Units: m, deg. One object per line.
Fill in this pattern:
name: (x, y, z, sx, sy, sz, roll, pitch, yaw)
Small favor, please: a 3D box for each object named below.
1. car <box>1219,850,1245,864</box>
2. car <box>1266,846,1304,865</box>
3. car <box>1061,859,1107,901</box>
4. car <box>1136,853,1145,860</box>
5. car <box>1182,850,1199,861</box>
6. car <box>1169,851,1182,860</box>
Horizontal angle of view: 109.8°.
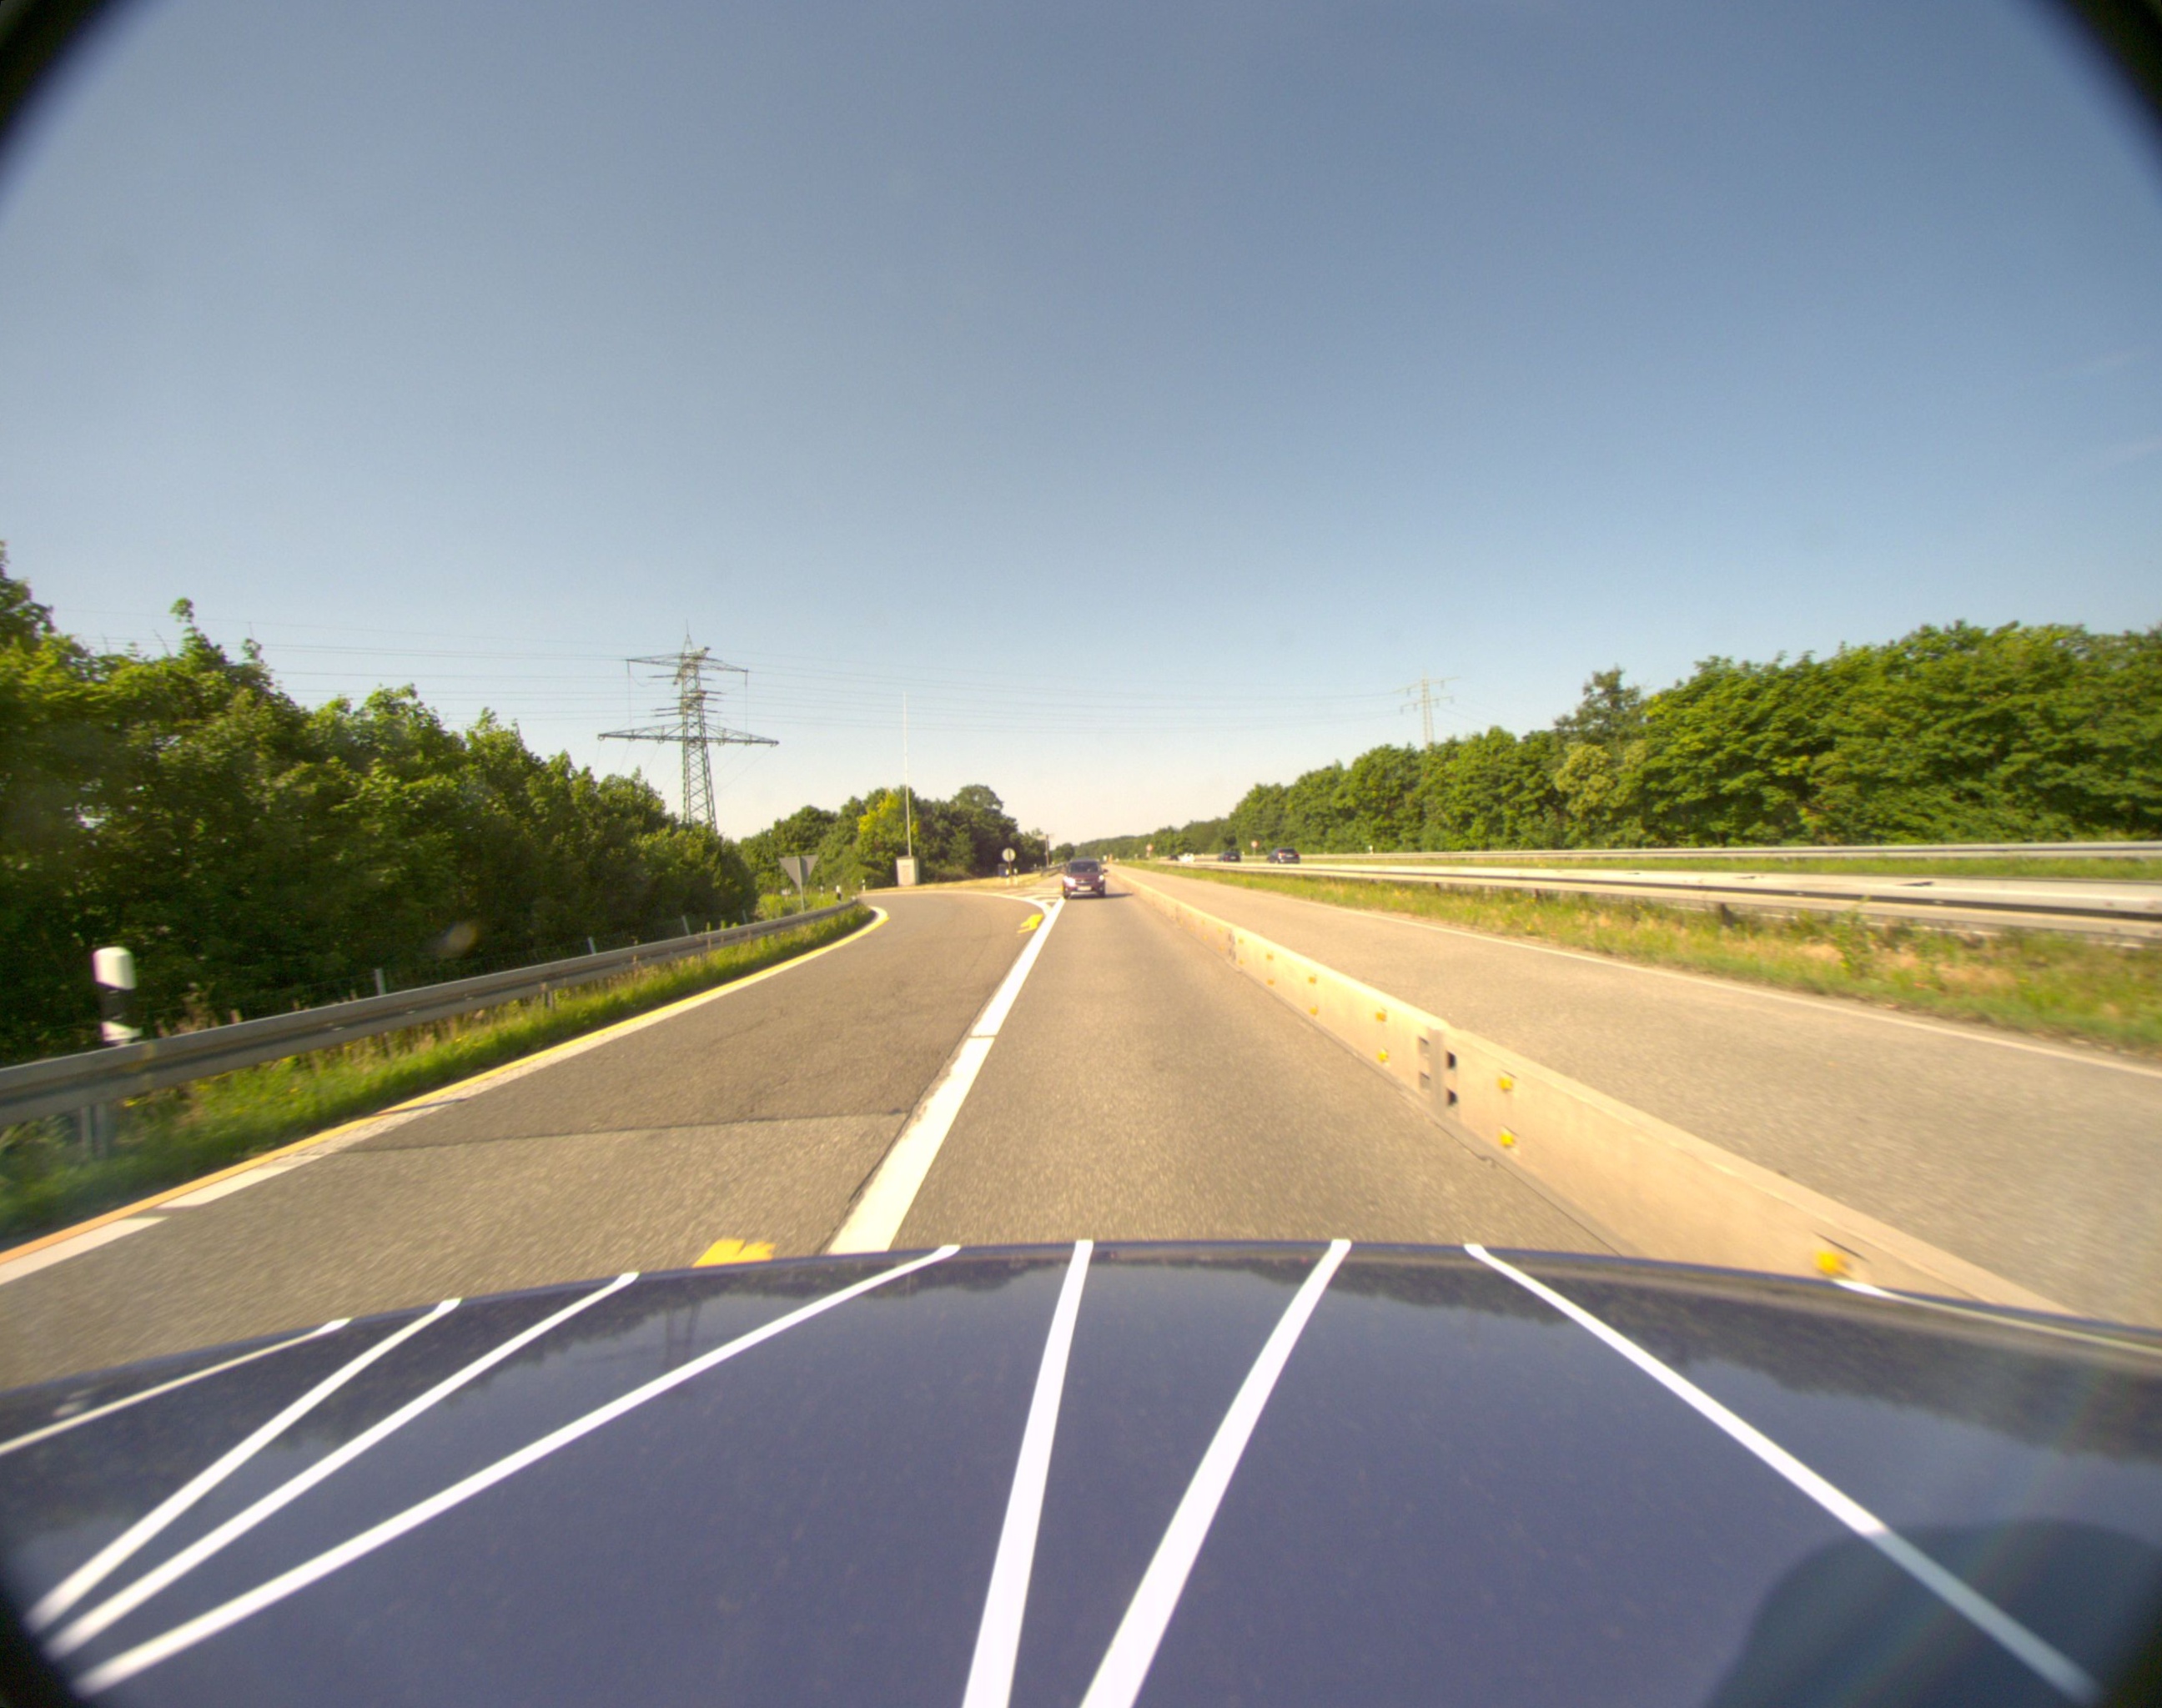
car: (15.901, 0.304, 80.353, 1.820, 1.479, 5.023, -1, 0, 2)
car: (16.335, 0.132, 60.939, 1.801, 1.426, 4.592, -3, 0, 1)
car: (0.188, 0.970, 30.142, 1.587, 1.491, 4.416, -2, -1, 2)
car: (17.833, 0.686, 228.831, 1.999, 2.022, 5.168, -2, 0, -1)
car: (16.749, 0.246, 116.184, 1.764, 1.462, 4.794, -4, 0, 0)
car: (16.732, 0.293, 134.275, 1.743, 1.485, 4.109, -3, 0, 0)
